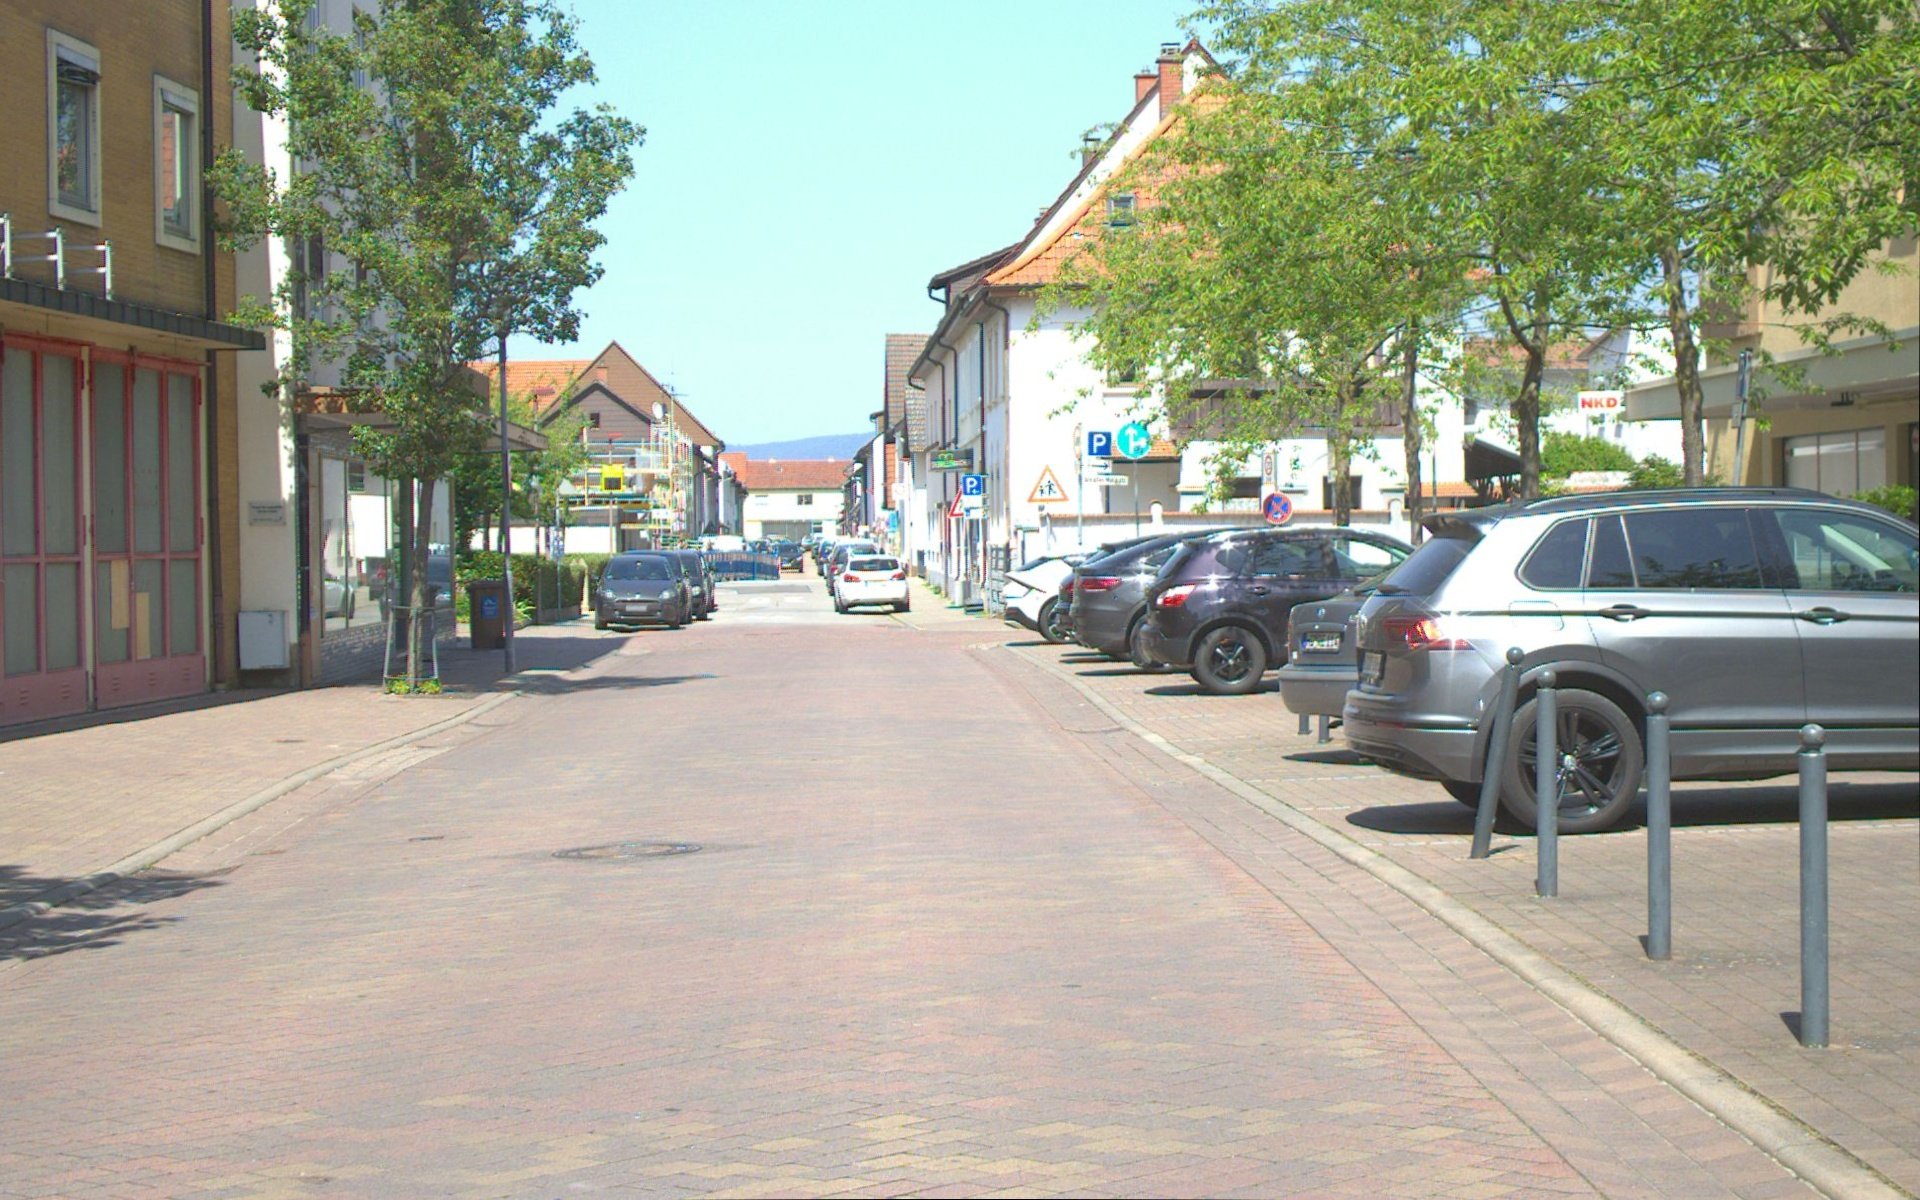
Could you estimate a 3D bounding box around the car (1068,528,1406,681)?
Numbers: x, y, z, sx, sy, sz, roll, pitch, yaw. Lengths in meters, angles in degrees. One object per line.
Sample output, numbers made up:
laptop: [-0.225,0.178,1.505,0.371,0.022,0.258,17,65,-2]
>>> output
car: [3.021,0.041,37.957,3.521,1.619,1.711,-1,0,-2]

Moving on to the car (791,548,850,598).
car: [-4.363,-0.852,107.869,1.747,1.476,3.629,-1,2,-1]

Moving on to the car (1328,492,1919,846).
car: [4.072,0.289,17.092,4.244,1.610,1.558,-1,1,-2]

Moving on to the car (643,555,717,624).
car: [-6.595,-0.262,81.285,1.507,1.495,3.827,-1,2,-1]

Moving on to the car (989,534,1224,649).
car: [2.305,-0.148,54.412,3.477,1.694,1.536,-2,0,-6]

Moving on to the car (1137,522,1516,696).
car: [3.605,0.080,34.241,3.521,1.649,1.711,-1,0,-2]

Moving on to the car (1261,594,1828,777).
car: [3.871,0.549,22.991,3.521,1.138,1.274,-1,0,-5]

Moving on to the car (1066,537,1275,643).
car: [3.504,-0.168,57.511,3.347,1.709,1.470,-1,0,-2]

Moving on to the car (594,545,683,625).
car: [-6.446,-0.323,69.255,1.507,1.495,3.827,-1,2,-1]

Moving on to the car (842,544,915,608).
car: [-2.099,-0.635,88.256,1.831,1.527,3.946,-1,2,-1]

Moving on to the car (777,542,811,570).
car: [-9.127,-2.437,188.814,1.747,1.476,3.629,-1,2,-1]
